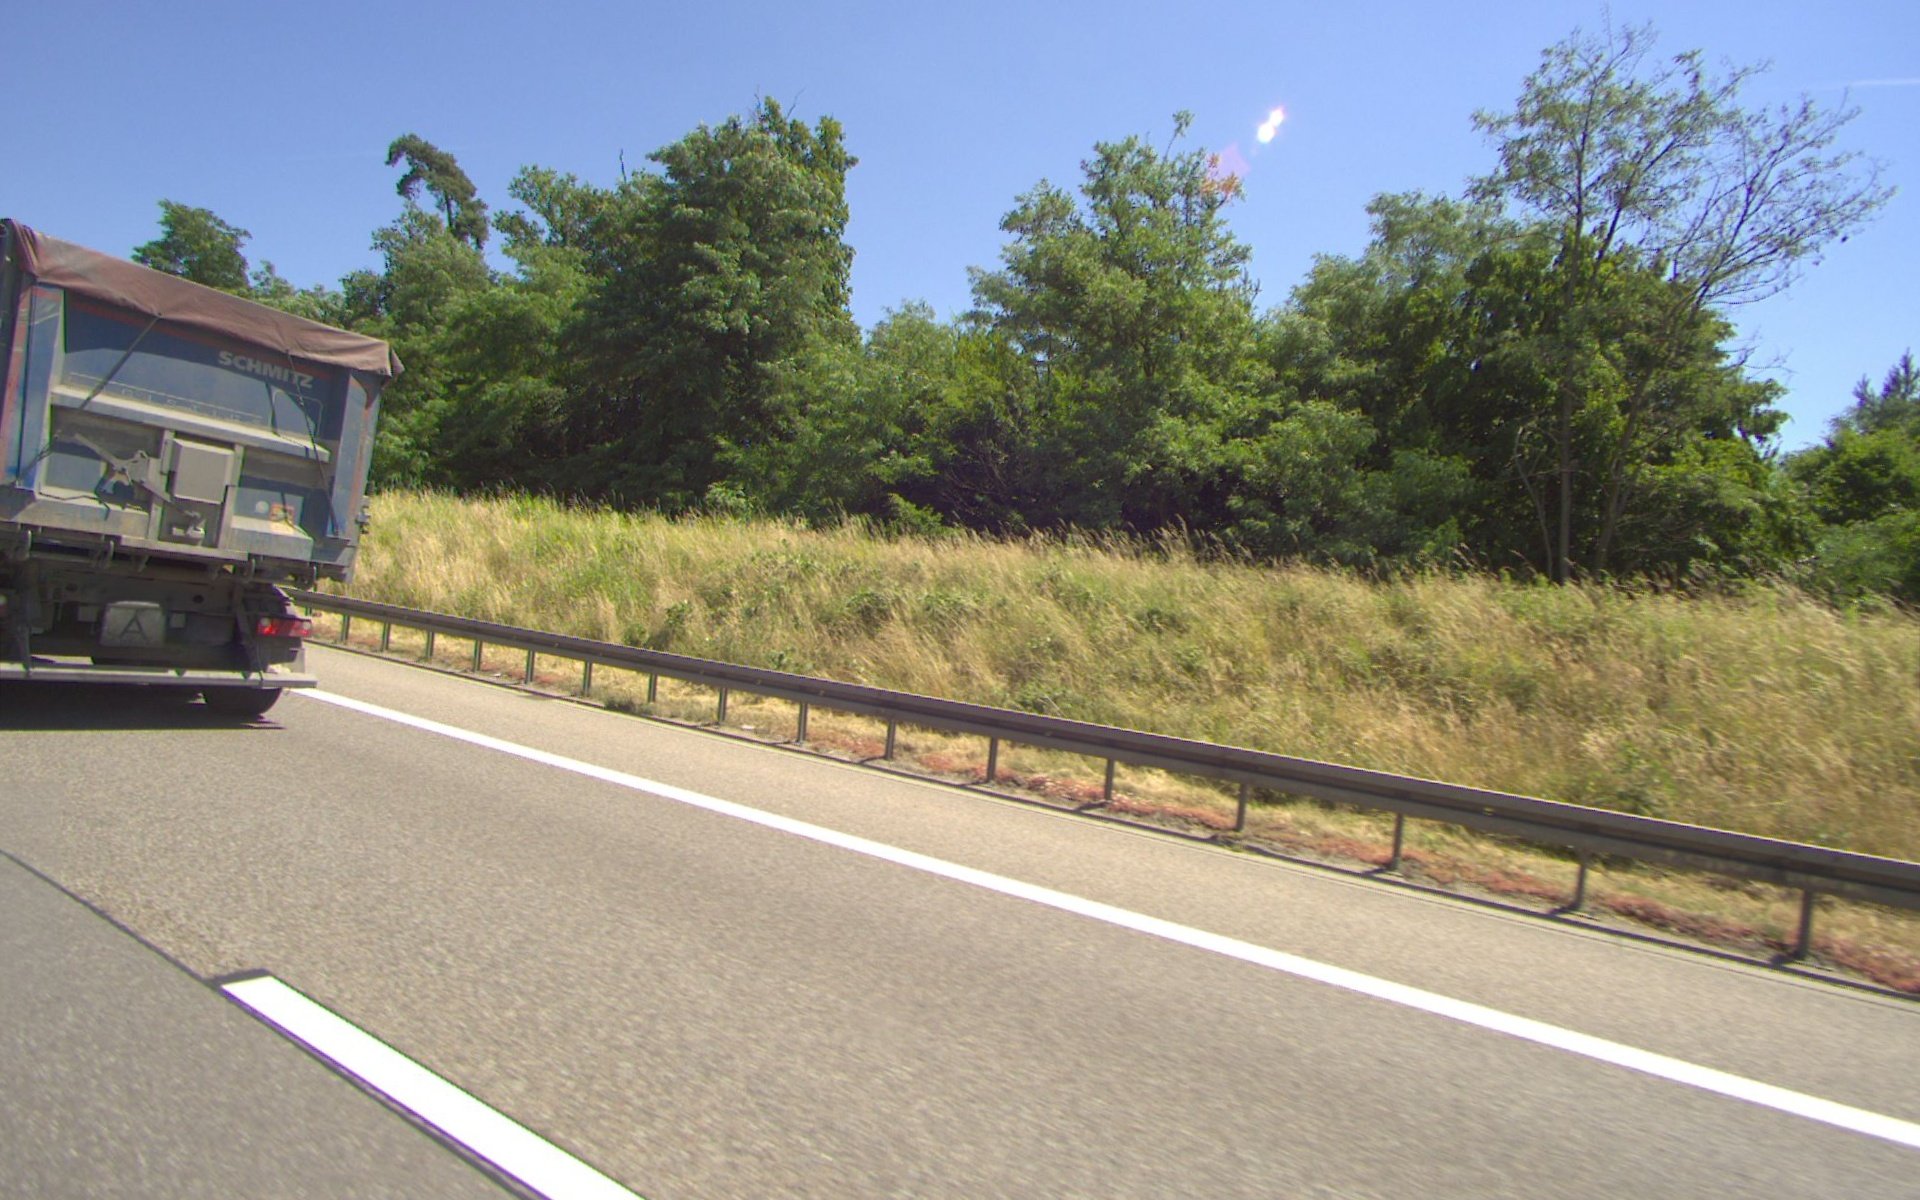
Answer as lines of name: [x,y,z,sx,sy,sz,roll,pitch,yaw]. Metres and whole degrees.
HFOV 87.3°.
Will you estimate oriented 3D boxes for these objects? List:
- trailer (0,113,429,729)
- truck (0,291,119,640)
trailer: [-9.168,-1.392,9.699,8.959,3.803,2.741,6,-1,32]
truck: [-13.412,-1.817,12.441,5.847,3.803,2.688,7,-1,33]
